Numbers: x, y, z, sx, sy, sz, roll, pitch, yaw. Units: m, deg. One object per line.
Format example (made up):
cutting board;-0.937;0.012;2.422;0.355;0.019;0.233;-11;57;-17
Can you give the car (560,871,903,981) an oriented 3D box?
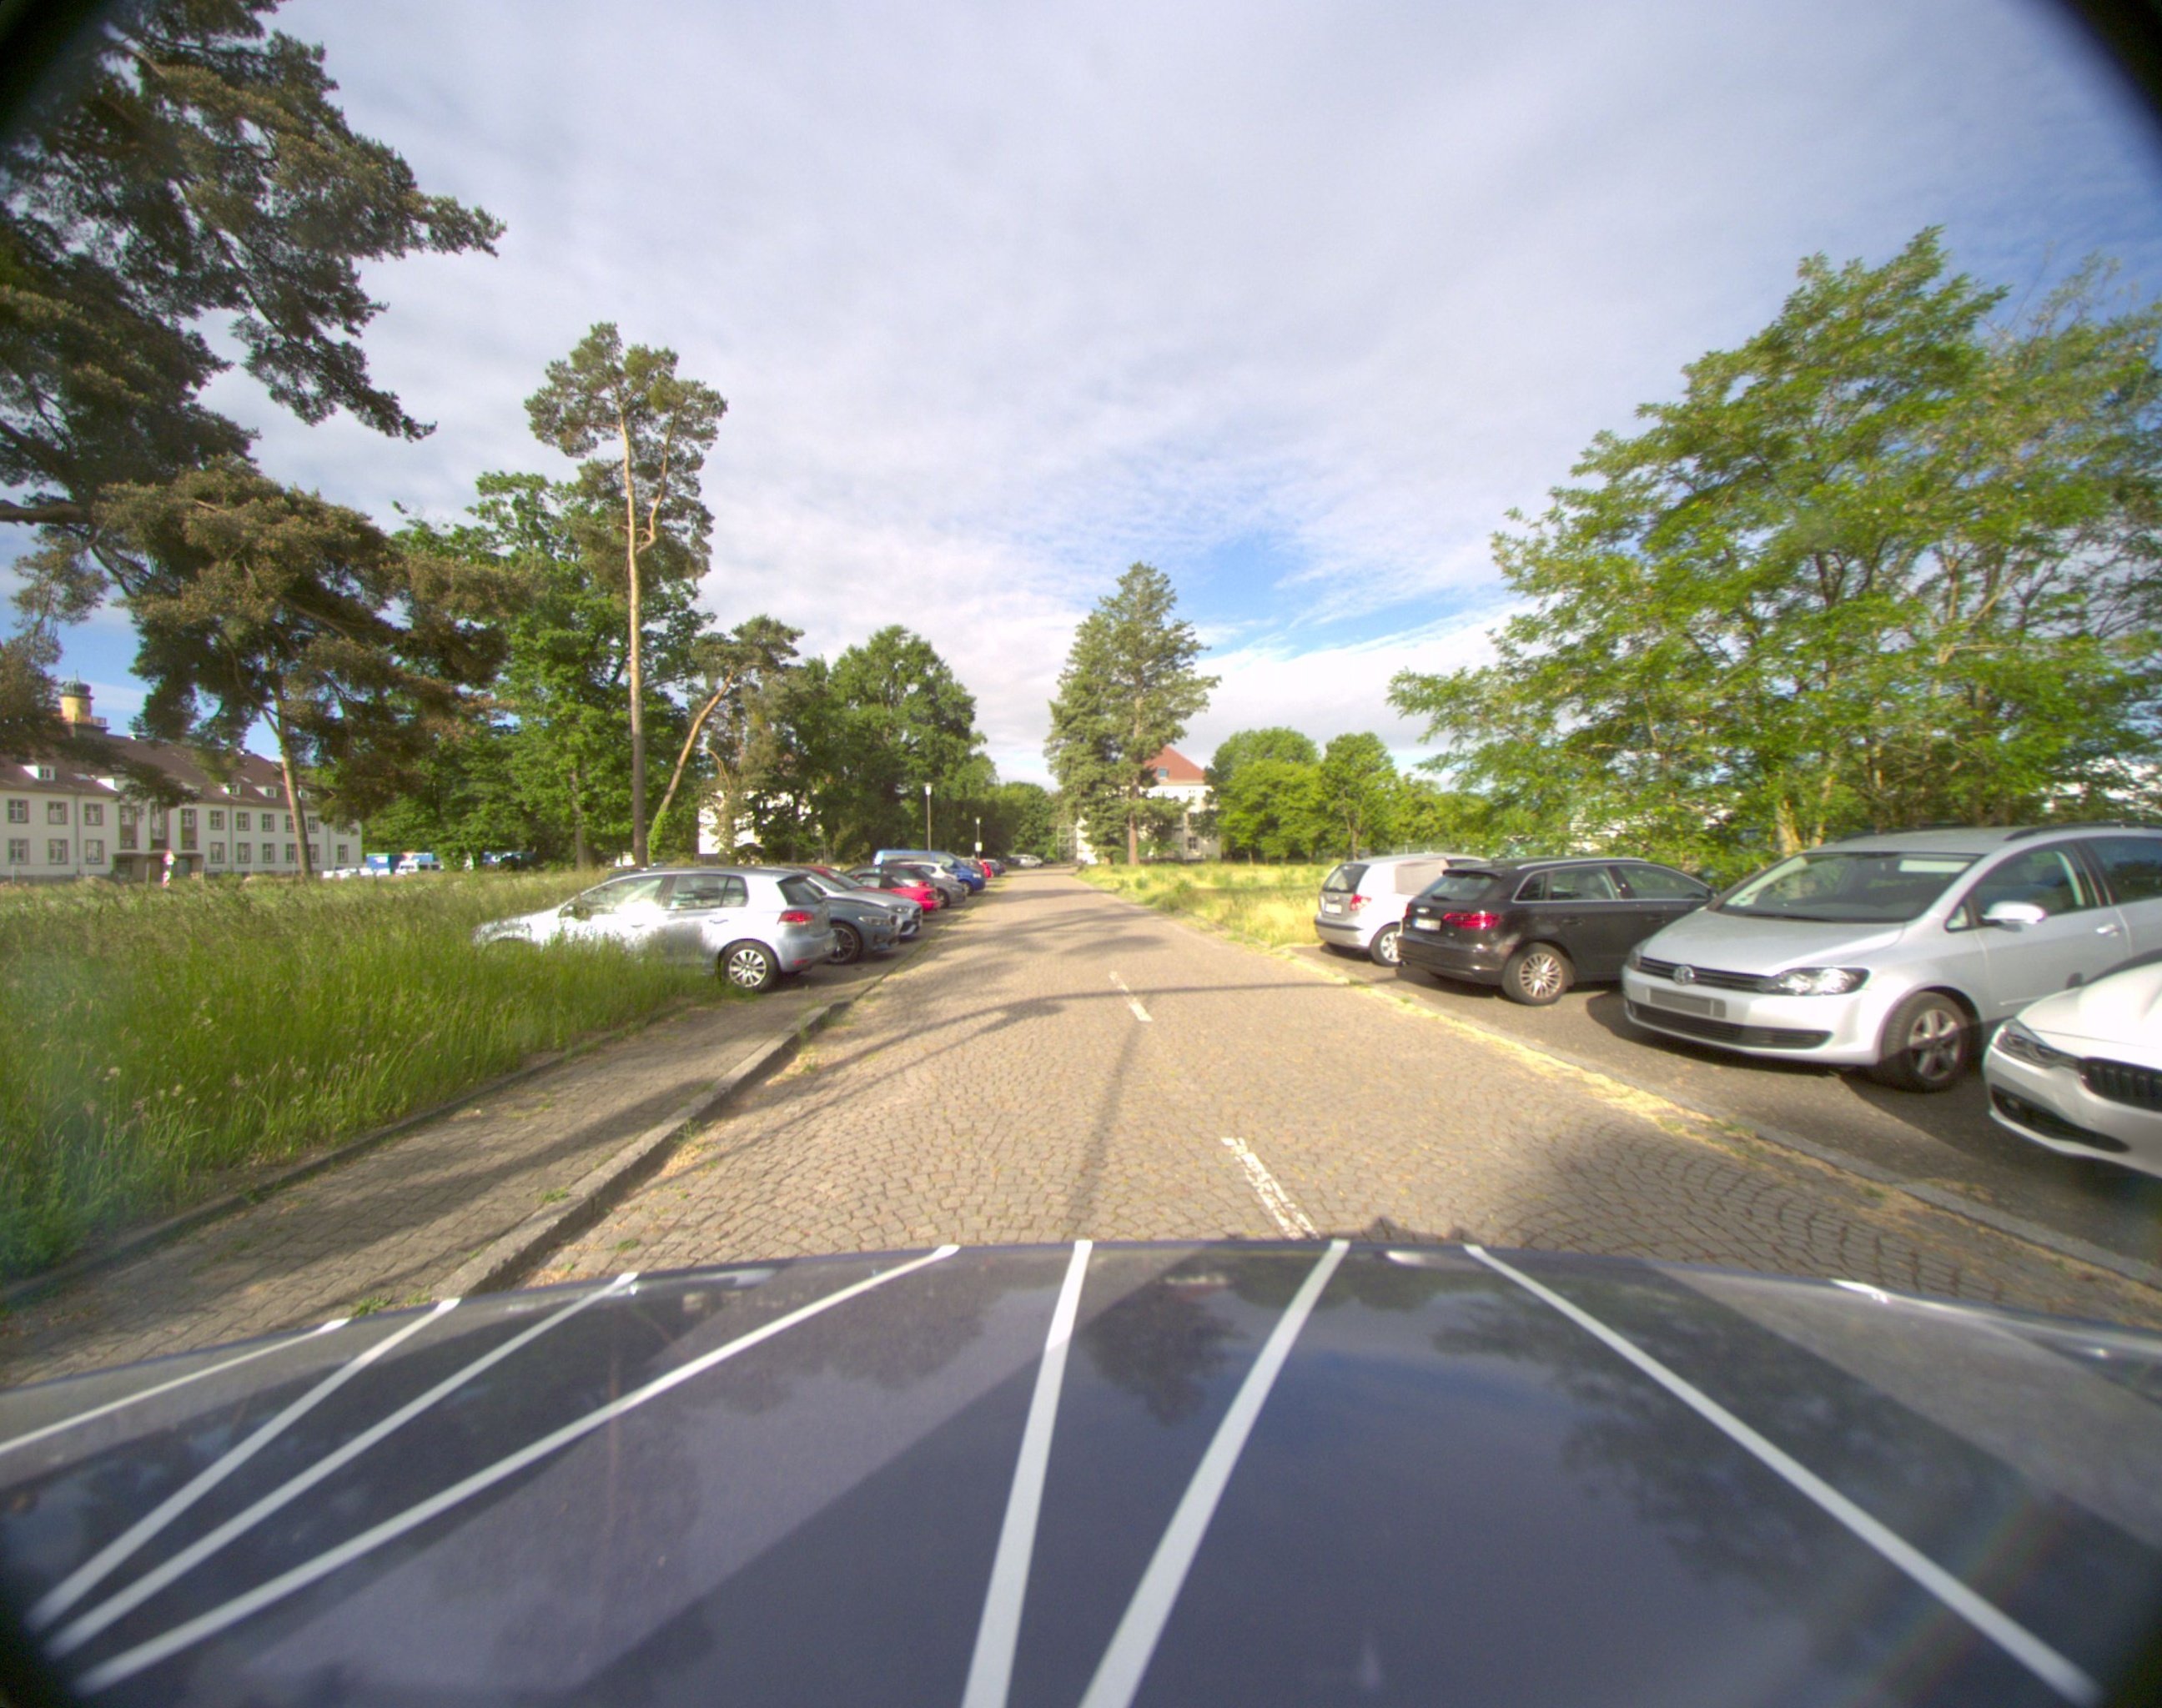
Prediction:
car;-5.217;1.039;11.955;4.521;1.465;1.893;0;1;-8

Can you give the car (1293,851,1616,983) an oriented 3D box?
car;5.220;0.818;10.922;3.694;1.465;1.848;-4;1;-5

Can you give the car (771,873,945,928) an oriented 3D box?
car;-5.562;1.161;19.375;3.962;1.253;1.726;0;1;-4

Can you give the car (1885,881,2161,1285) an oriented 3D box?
car;6.439;0.803;3.098;4.601;1.447;1.902;-4;0;-6

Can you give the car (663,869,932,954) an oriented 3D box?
car;-5.298;1.056;14.734;4.520;1.465;1.848;0;1;-4

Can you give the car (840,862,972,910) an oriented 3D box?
car;-5.643;1.022;24.940;3.962;1.459;1.830;0;1;-4

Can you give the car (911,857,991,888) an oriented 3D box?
car;-7.119;0.999;41.950;4.203;1.580;1.877;0;1;-5

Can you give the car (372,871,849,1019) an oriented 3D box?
car;-5.389;1.002;9.312;4.558;1.497;1.932;0;1;-6

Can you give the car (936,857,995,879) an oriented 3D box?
car;-7.878;0.957;52.180;3.888;1.464;1.686;0;1;-5

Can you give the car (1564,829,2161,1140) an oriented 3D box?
car;6.173;0.733;5.625;4.134;1.591;1.857;-4;1;-8

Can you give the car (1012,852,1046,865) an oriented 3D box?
car;-7.908;0.688;116.239;5.080;2.029;1.999;-1;0;-4

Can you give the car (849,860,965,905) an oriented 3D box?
car;-6.284;1.016;27.759;3.885;1.521;1.807;0;1;-4

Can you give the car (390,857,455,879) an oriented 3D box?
car;-73.526;1.535;85.019;2.167;2.286;5.960;-1;0;-1

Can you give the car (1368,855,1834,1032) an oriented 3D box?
car;5.441;0.852;8.277;3.840;1.421;1.858;-4;1;-5

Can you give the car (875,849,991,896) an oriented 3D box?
car;-6.345;0.792;33.115;4.747;1.917;1.991;1;1;-5

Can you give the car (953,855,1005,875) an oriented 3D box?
car;-8.355;0.913;62.453;4.137;1.560;1.745;0;1;-4

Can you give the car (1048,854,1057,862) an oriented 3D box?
car;-6.848;0.963;182.763;1.999;1.762;4.107;-1;1;-4

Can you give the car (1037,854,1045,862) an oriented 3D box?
car;-9.557;0.949;182.356;1.875;1.888;3.998;-1;1;-4

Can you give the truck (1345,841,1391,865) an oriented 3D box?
truck;32.377;-0.051;86.069;2.418;2.572;6.957;-1;0;-1

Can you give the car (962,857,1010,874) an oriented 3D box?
car;-8.372;0.990;67.160;4.036;1.442;1.782;0;1;-2

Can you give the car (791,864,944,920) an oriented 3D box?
car;-6.084;1.054;21.981;3.962;1.486;1.771;0;1;-4

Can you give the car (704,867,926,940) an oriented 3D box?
car;-5.792;1.059;16.975;4.353;1.465;1.739;0;1;-4
